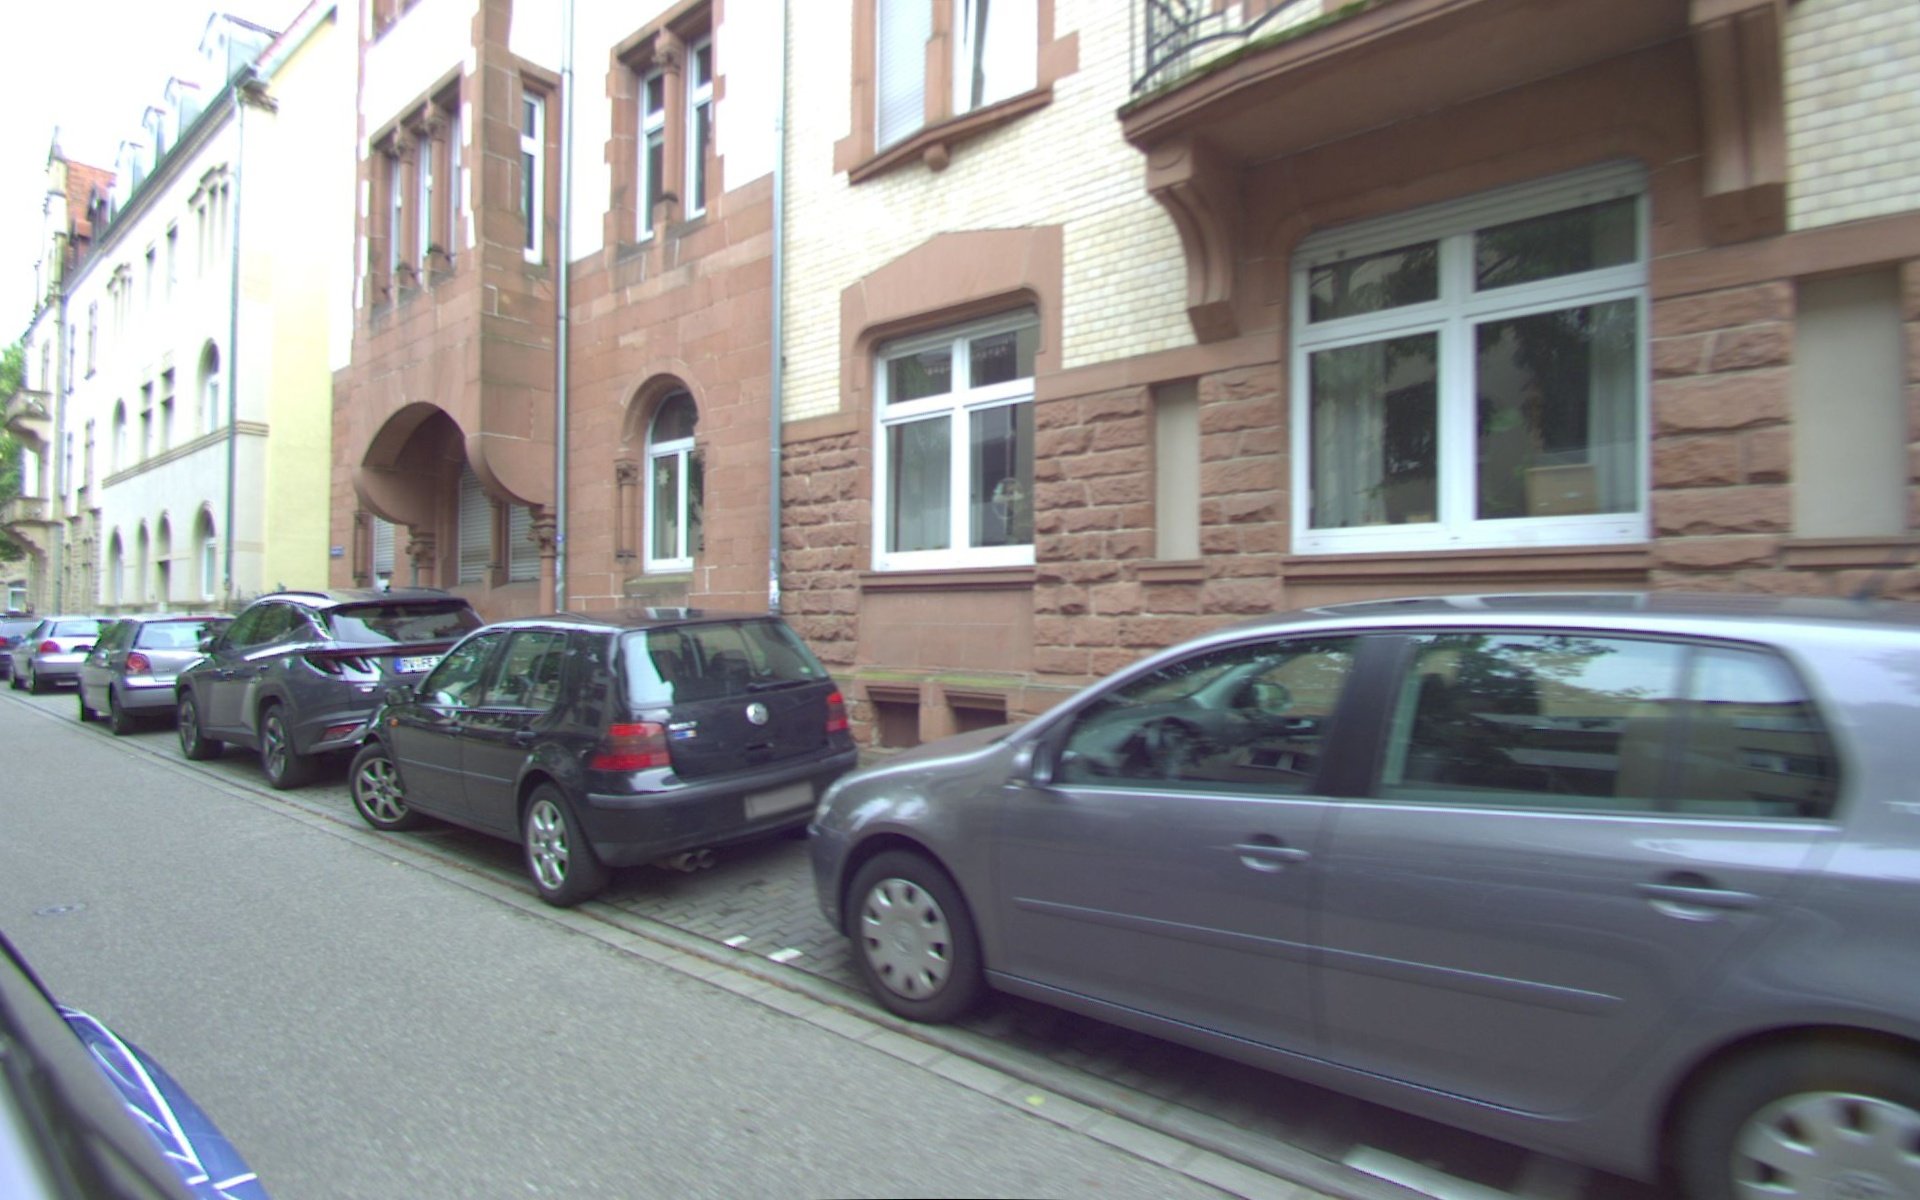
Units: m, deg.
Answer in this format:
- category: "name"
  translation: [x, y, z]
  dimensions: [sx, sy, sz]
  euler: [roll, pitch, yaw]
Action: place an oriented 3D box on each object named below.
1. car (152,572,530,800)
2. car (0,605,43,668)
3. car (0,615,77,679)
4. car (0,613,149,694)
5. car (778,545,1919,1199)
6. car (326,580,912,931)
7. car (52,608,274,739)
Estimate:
- category: "car"
  translation: [-6.077, 0.667, 9.715]
  dimensions: [4.358, 1.659, 1.768]
  euler: [-1, 2, 41]
- category: "car"
  translation: [-25.592, 0.991, 26.718]
  dimensions: [2.954, 1.582, 1.630]
  euler: [-2, 0, 40]
- category: "car"
  translation: [-22.256, 1.072, 23.867]
  dimensions: [3.928, 1.397, 1.708]
  euler: [-2, -2, 42]
- category: "car"
  translation: [-17.304, 0.984, 19.566]
  dimensions: [4.132, 1.397, 1.709]
  euler: [-1, -2, 39]
- category: "car"
  translation: [1.373, 0.637, 3.213]
  dimensions: [3.998, 1.484, 1.651]
  euler: [-1, 3, 41]
- category: "car"
  translation: [-2.302, 0.639, 6.243]
  dimensions: [3.998, 1.484, 1.618]
  euler: [1, 2, 41]
- category: "car"
  translation: [-10.738, 0.879, 13.539]
  dimensions: [3.928, 1.431, 1.645]
  euler: [-1, 1, 42]
